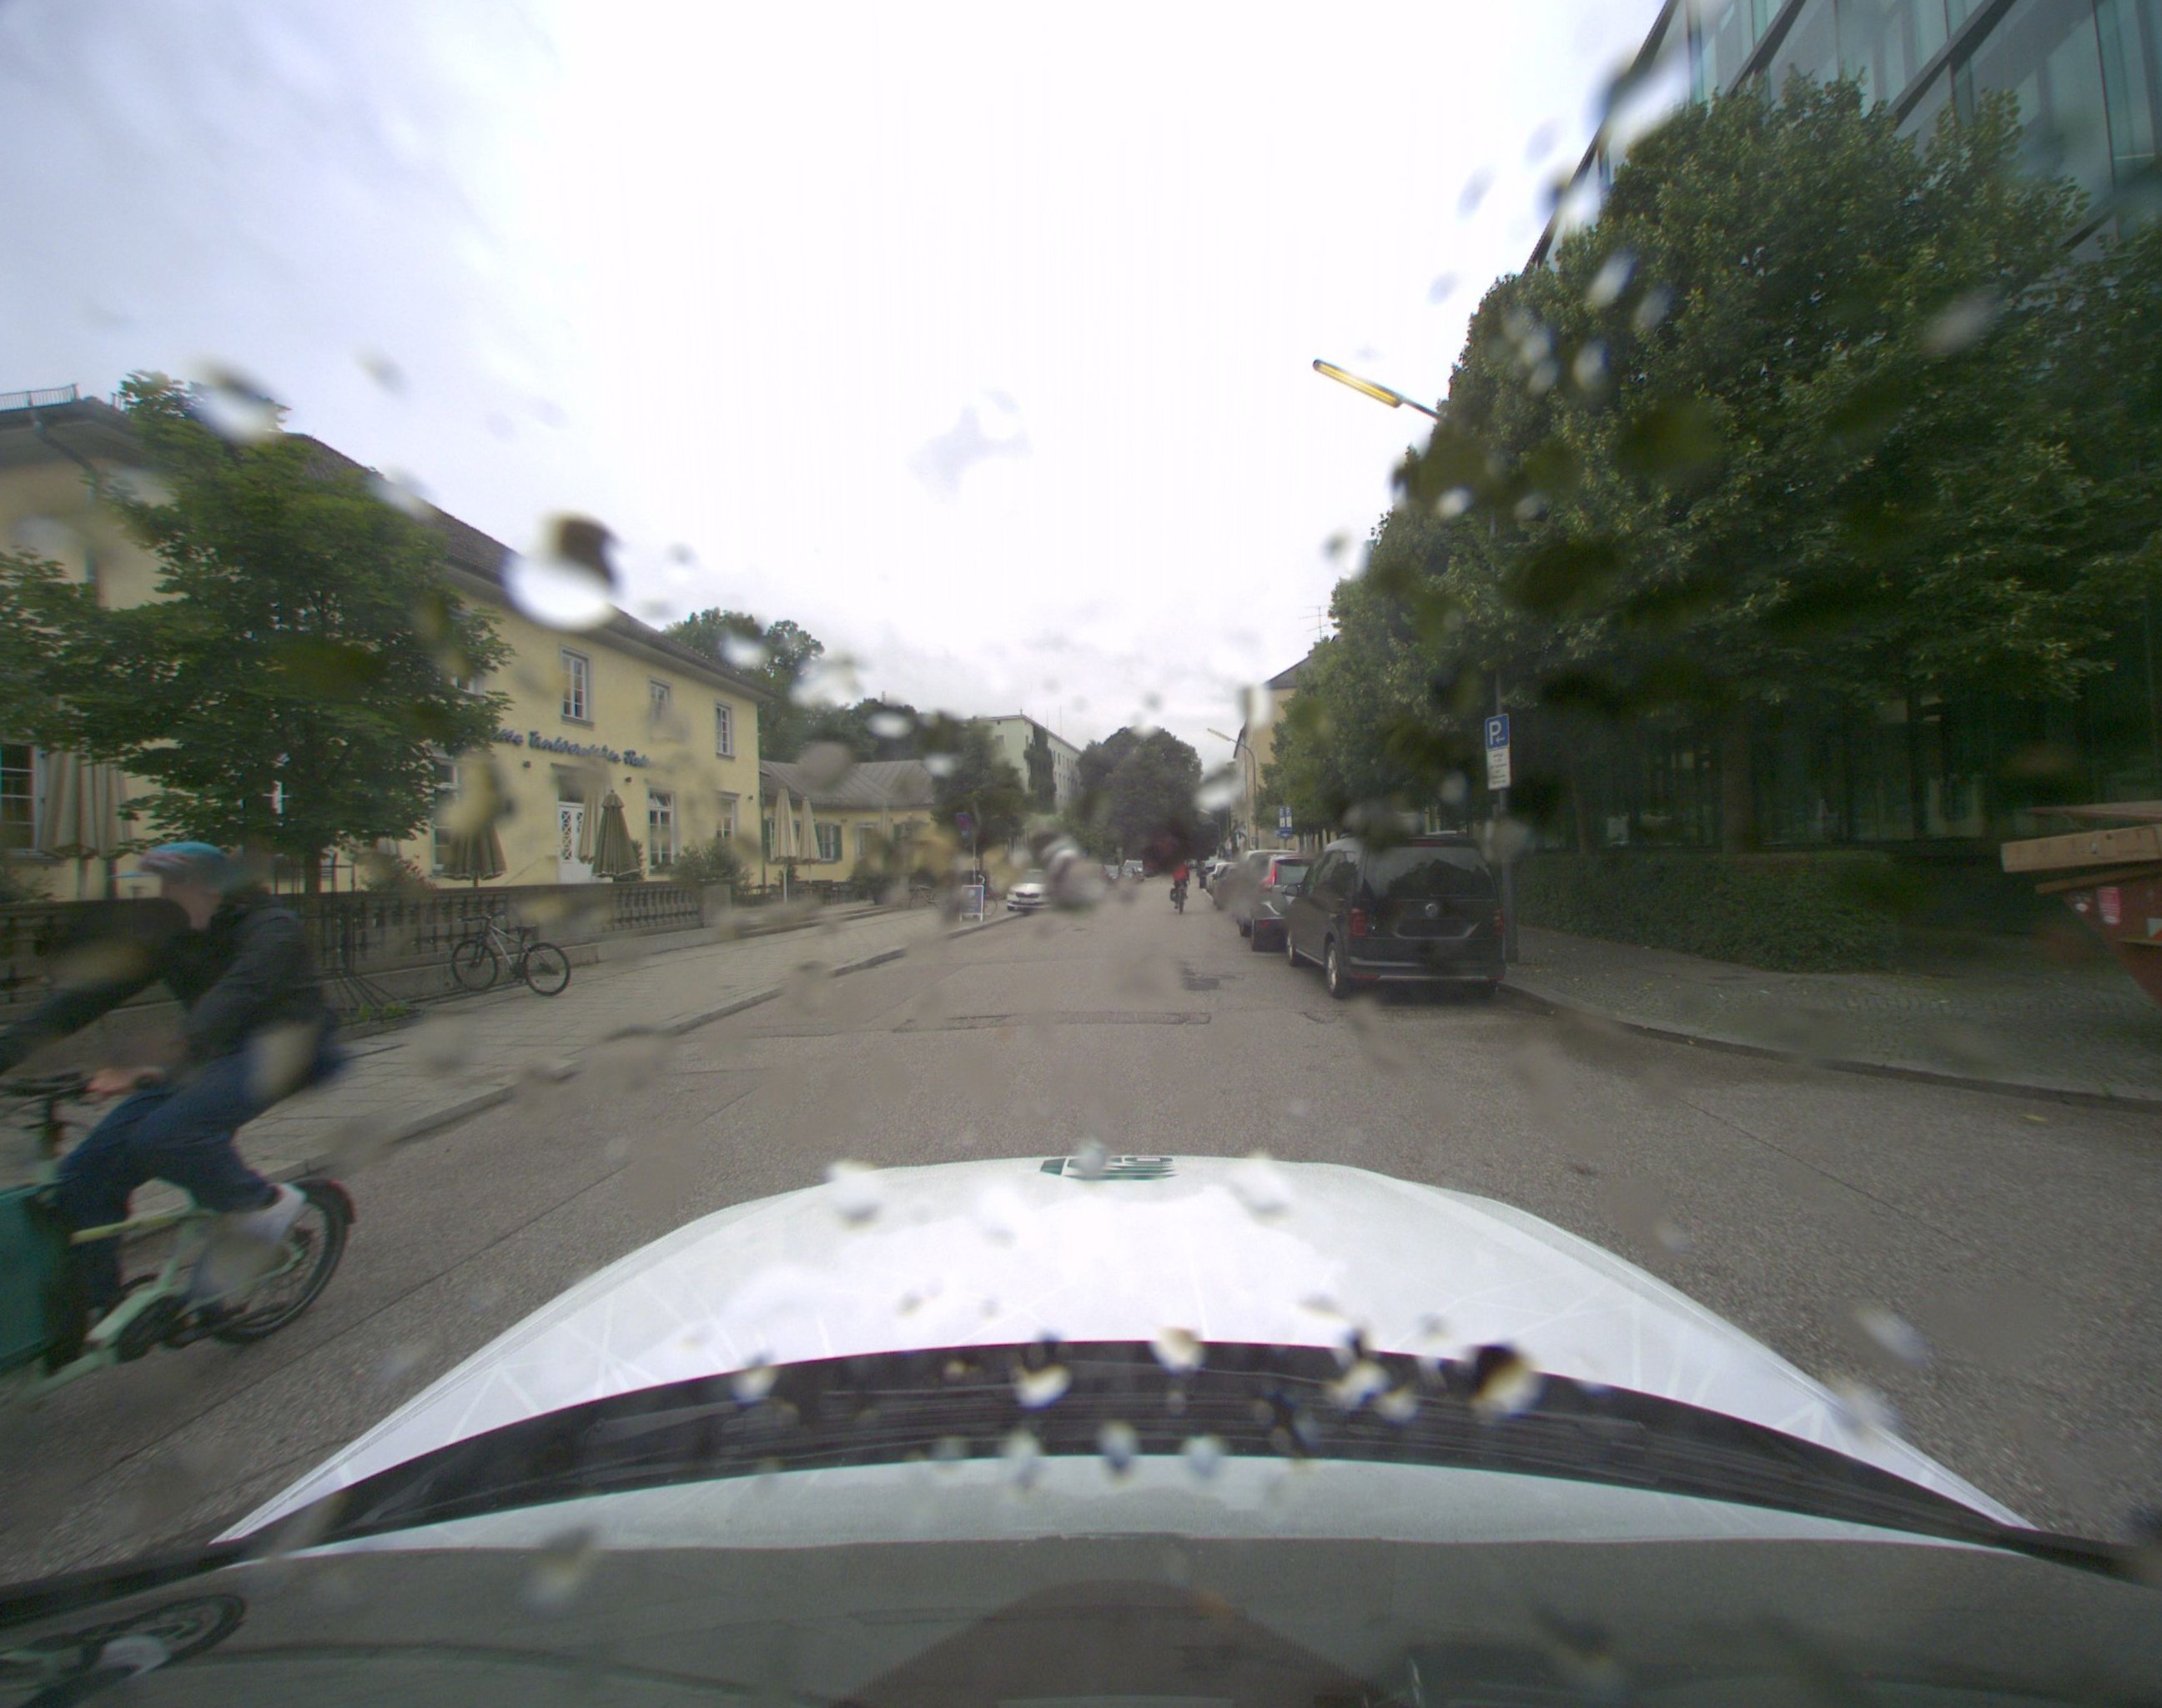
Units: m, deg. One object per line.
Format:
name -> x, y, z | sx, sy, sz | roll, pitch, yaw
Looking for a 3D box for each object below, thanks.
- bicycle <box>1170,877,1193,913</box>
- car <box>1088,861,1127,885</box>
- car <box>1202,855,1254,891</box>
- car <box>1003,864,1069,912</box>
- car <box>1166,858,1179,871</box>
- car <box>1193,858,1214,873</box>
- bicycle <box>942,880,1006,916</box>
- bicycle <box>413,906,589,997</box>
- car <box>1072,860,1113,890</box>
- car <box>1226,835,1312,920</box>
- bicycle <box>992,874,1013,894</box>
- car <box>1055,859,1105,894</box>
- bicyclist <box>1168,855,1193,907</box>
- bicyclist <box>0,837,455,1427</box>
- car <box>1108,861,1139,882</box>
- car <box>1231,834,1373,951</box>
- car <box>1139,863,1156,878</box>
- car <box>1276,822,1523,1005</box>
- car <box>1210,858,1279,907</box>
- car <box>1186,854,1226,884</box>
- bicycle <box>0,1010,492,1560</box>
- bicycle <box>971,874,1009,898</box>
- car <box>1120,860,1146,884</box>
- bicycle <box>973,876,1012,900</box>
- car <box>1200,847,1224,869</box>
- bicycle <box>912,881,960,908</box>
bicycle -> 3.006, 1.212, 24.411 | 0.618, 1.004, 2.144 | -3, -2, 7
car -> 1.802, 1.221, 54.159 | 1.981, 1.486, 4.011 | 0, 0, 10
car -> 6.861, 0.857, 38.293 | 1.984, 1.552, 4.005 | -2, 0, 5
car -> -1.563, 1.170, 29.650 | 1.724, 1.581, 3.795 | 1, 0, 7
car -> 14.985, 1.673, 133.477 | 1.983, 2.099, 4.007 | 1, 0, 6
car -> 13.447, 1.243, 89.289 | 1.984, 1.552, 4.005 | -2, 0, 5
bicycle -> -3.296, 1.348, 25.233 | 0.615, 1.004, 2.153 | 0, 0, 37
bicycle -> -7.504, 1.240, 10.567 | 1.920, 1.099, 0.616 | 0, -1, 7
car -> 0.722, 1.234, 47.227 | 1.984, 1.603, 4.006 | -2, -1, 5
car -> 4.799, 0.557, 21.330 | 1.740, 1.943, 4.236 | -2, 0, 8
bicycle -> -3.997, 1.512, 41.565 | 0.618, 1.004, 1.623 | -2, -2, 10
car -> 0.010, 1.116, 42.180 | 1.983, 1.648, 4.664 | -2, -1, 7
bicyclist -> 2.986, 0.805, 24.351 | 0.668, 1.498, 1.097 | -2, -2, 7
bicyclist -> -2.847, 0.760, 2.699 | 0.741, 1.576, 0.977 | -2, -1, -1
car -> 3.412, 1.349, 64.965 | 1.982, 1.486, 4.010 | -2, 0, 8
car -> 3.913, 0.616, 15.160 | 1.853, 1.794, 4.518 | -2, 0, 7
car -> 7.838, 1.911, 96.119 | 1.801, 1.683, 4.007 | -2, 0, 6
car -> 3.719, 0.619, 10.333 | 1.752, 1.823, 4.144 | -1, 0, 4
car -> 5.301, 0.883, 26.845 | 1.853, 1.440, 4.263 | -1, 0, 6
car -> 7.271, 0.863, 47.680 | 1.984, 1.618, 4.005 | -2, 0, 5
bicycle -> -2.895, 1.193, 2.457 | 0.619, 1.004, 2.140 | -4, -1, 0
bicycle -> -4.207, 1.465, 37.684 | 1.624, 1.004, 0.617 | -2, -2, -32
car -> 4.715, 1.589, 73.489 | 1.983, 2.079, 4.007 | -2, 0, 6
bicycle -> -3.956, 1.500, 36.369 | 1.619, 1.004, 0.619 | -2, -2, -21
car -> 13.437, 0.409, 83.695 | 1.984, 2.060, 4.629 | -2, -1, 5
bicycle -> -5.284, 1.467, 29.738 | 1.619, 0.926, 0.647 | -2, -2, -21
